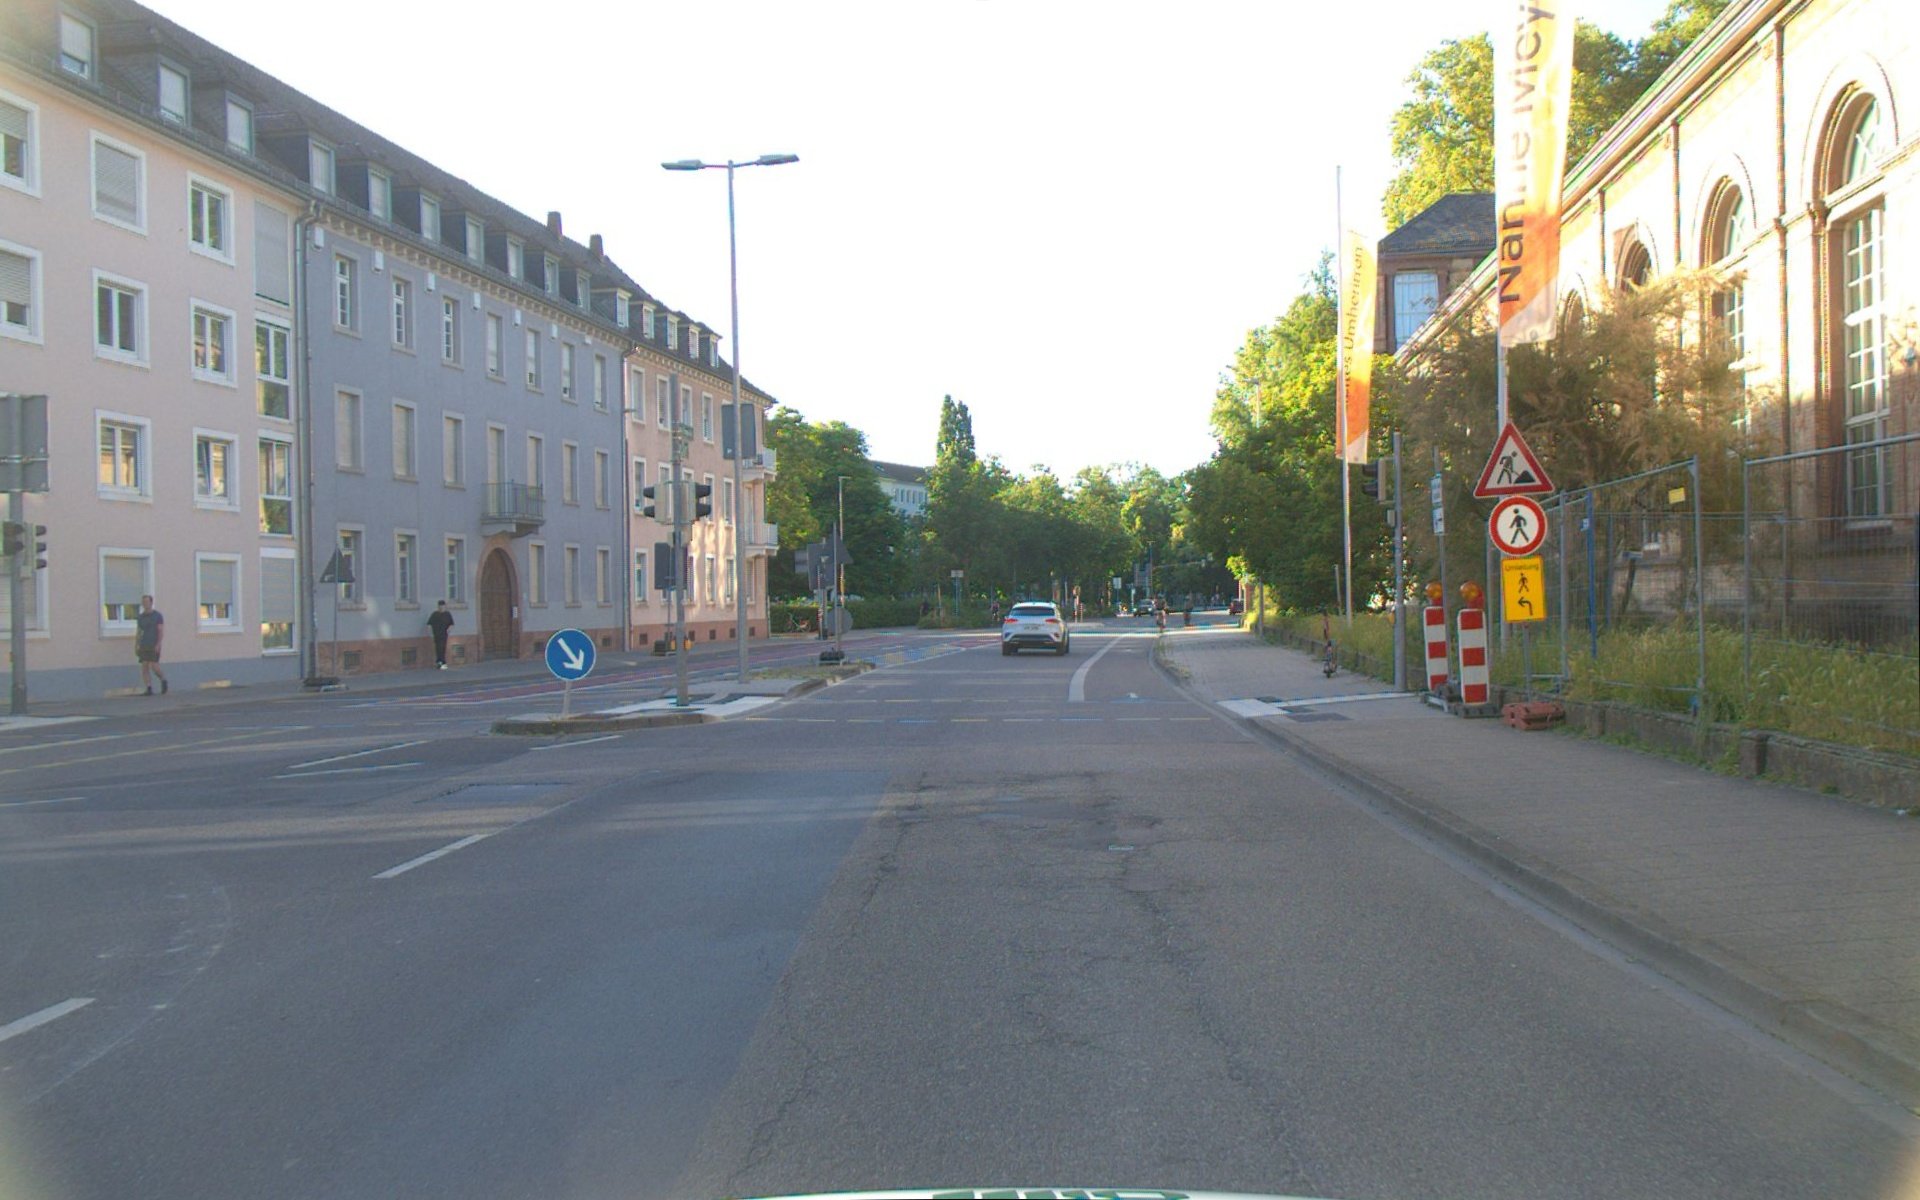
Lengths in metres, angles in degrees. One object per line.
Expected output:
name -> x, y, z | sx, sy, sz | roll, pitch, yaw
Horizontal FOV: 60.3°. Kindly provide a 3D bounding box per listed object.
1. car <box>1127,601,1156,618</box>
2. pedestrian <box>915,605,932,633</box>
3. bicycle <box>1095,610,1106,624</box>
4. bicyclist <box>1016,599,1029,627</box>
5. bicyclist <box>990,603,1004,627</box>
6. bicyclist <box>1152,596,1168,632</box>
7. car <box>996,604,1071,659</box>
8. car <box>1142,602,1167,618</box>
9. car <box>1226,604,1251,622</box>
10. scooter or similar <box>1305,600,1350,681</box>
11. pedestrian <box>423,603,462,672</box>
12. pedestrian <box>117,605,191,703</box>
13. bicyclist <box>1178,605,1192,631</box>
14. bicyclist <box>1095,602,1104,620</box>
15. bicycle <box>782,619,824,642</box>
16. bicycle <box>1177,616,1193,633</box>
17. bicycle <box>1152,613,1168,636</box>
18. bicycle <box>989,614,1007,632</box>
car -> 16.060, 0.821, 145.896 | 1.773, 1.444, 4.558 | -2, 0, 16
pedestrian -> -2.466, 1.290, 112.181 | 0.837, 1.884, 1.002 | -2, -1, 14
bicycle -> 12.265, 1.510, 144.689 | 0.584, 1.140, 2.028 | -5, -1, 13
bicyclist -> 4.000, 0.807, 105.933 | 0.622, 1.740, 0.739 | -4, -1, 9
bicyclist -> 2.318, 0.947, 104.045 | 0.722, 1.511, 0.665 | -3, -1, 12
bicyclist -> 9.271, 0.663, 76.630 | 0.622, 1.642, 1.285 | 0, 0, 10
car -> 2.189, 0.896, 48.479 | 1.951, 1.478, 4.002 | -2, -1, 5
car -> 18.718, 0.933, 159.390 | 1.721, 1.484, 4.003 | -2, 0, 16
car -> 25.330, 1.178, 150.348 | 1.888, 1.560, 4.003 | -2, -1, 15
scooter or similar -> 6.361, 0.679, 28.654 | 0.543, 1.331, 1.833 | -2, 0, 7
pedestrian -> -14.272, 1.029, 45.642 | 0.618, 1.878, 1.014 | 1, 0, 7
pedestrian -> -15.883, 1.047, 32.612 | 0.849, 1.896, 1.016 | 1, 0, 9
bicyclist -> 13.681, 1.091, 100.591 | 0.731, 1.564, 0.970 | -1, -1, 15
bicyclist -> 12.216, 0.961, 144.645 | 0.616, 1.549, 0.725 | -4, -1, 13
bicycle -> -8.883, 1.718, 93.463 | 2.270, 1.251, 0.560 | -2, -1, 14
bicycle -> 13.684, 1.475, 100.533 | 0.737, 1.044, 1.870 | 0, -1, 15
bicycle -> 9.268, 1.129, 76.519 | 0.629, 1.042, 2.214 | 0, 0, 10
bicycle -> 2.374, 1.438, 104.012 | 0.721, 1.013, 2.111 | -2, 1, 11
